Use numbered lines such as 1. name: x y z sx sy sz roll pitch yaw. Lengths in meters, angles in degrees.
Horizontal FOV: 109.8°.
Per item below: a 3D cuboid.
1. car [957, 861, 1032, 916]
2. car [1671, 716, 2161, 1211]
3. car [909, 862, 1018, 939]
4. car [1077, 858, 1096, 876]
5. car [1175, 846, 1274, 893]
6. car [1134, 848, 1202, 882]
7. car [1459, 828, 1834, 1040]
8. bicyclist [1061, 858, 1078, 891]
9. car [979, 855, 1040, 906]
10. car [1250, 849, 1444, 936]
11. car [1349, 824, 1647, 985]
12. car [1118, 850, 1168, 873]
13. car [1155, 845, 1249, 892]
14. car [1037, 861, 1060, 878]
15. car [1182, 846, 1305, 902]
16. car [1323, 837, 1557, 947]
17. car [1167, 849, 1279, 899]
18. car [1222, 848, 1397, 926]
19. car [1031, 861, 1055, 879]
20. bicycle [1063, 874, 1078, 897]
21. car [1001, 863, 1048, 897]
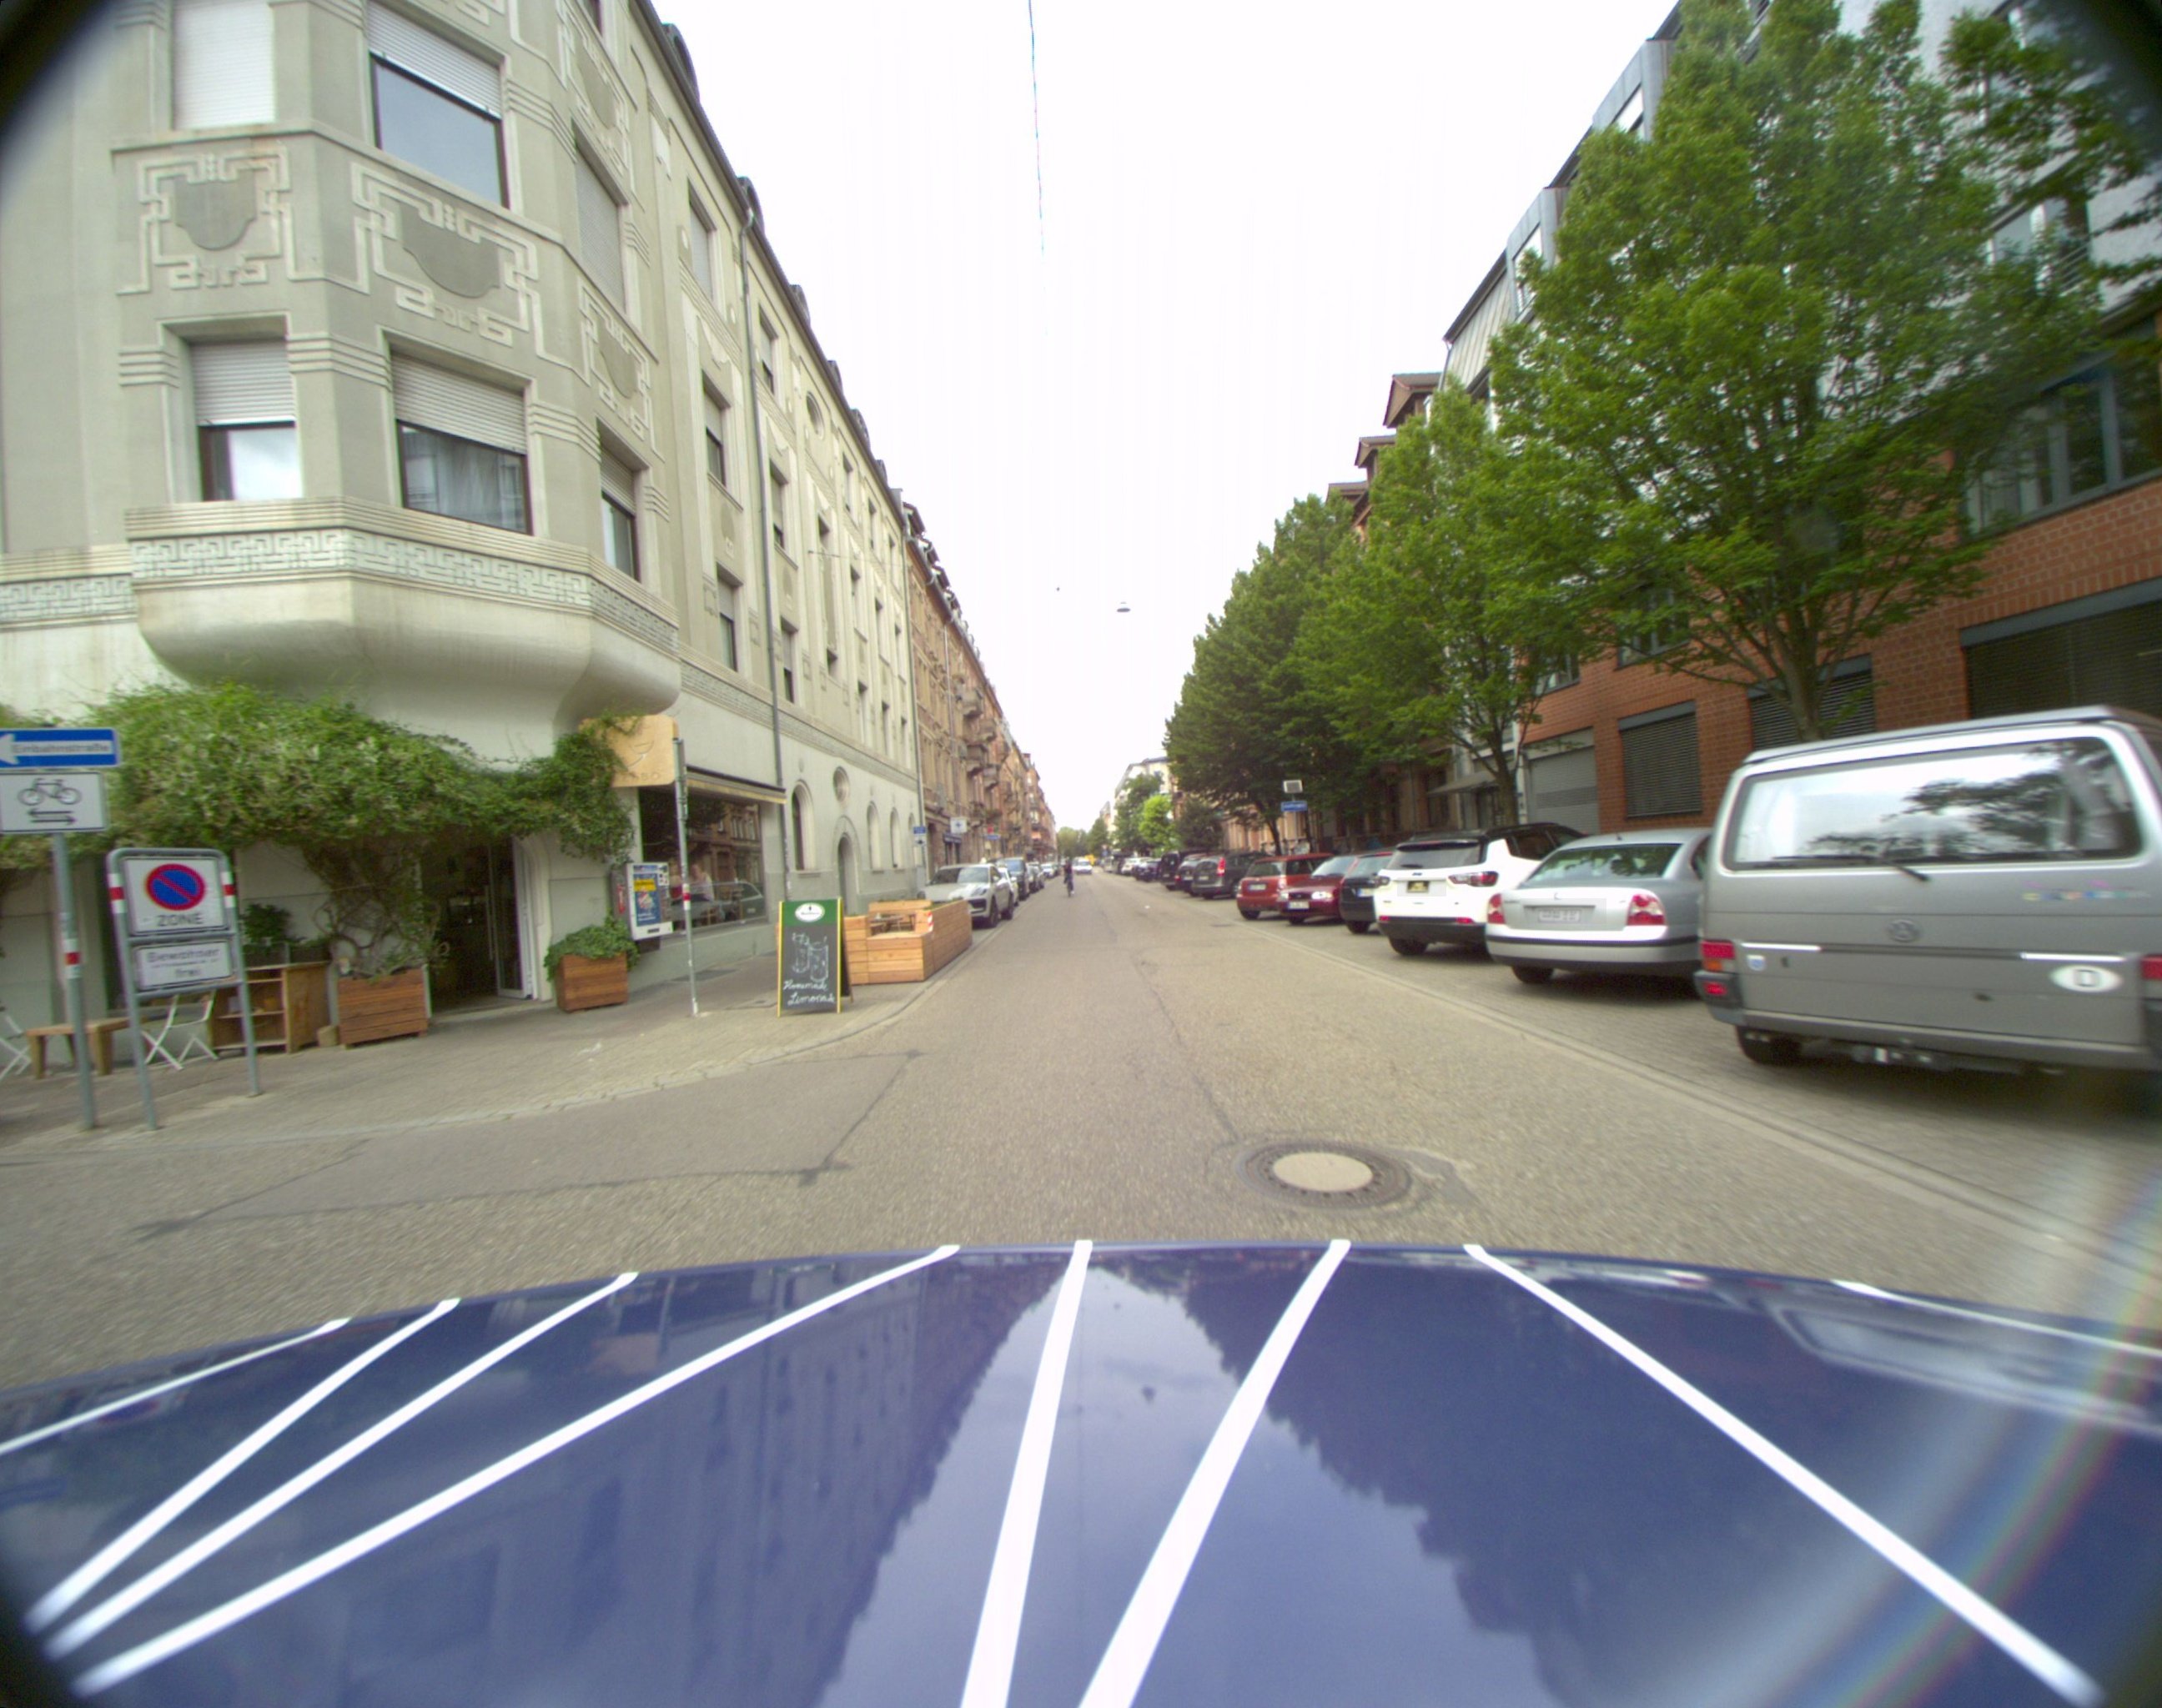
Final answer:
1. car: -2.963 1.163 26.893 1.853 1.661 4.007 -5 -1 4
2. car: 5.663 0.310 4.617 4.011 1.986 1.858 -6 1 -31
3. car: -2.906 1.106 19.678 1.853 1.661 4.007 -5 -1 4
4. car: 0.675 1.539 91.289 1.942 1.912 4.007 -5 -1 4
5. car: 6.159 0.669 32.562 4.012 1.672 1.688 -4 -1 -34
6. car: 5.541 0.699 48.153 4.012 1.846 1.688 -4 -1 -34
7. car: 5.678 0.608 7.487 4.012 1.437 1.622 -4 -1 -34
8. bicyclist: -0.512 0.925 34.281 0.649 1.408 1.094 -4 0 1
9. car: -3.024 1.096 32.928 1.853 1.932 4.007 -5 -1 4
10. car: 5.561 0.746 15.697 4.012 1.381 1.593 -4 -1 -34
11. car: 5.615 0.554 10.088 4.012 1.605 1.709 -4 -1 -34
12. car: 5.425 0.653 66.264 4.012 1.746 1.688 -4 -1 -34
13. car: 5.596 0.641 35.030 4.051 1.846 1.688 -4 -1 -34
14. car: -3.309 1.546 77.858 1.853 1.505 4.007 -5 -1 4
15. car: 5.617 0.676 26.135 4.012 1.558 1.688 -4 -1 -34
16. car: 6.273 0.596 13.164 4.012 1.468 1.755 -4 -1 -34
17. car: 5.384 0.735 28.701 4.012 1.558 1.688 -4 -1 -34
18. car: 5.433 0.738 17.909 4.012 1.445 1.688 -4 -1 -34
19. car: -3.476 1.452 70.101 1.854 1.505 4.007 -5 -1 1
20. bicycle: -0.472 1.405 34.422 0.586 0.927 1.783 -5 -1 1
21. car: -2.936 1.318 40.360 1.853 1.568 4.007 -5 -1 4
